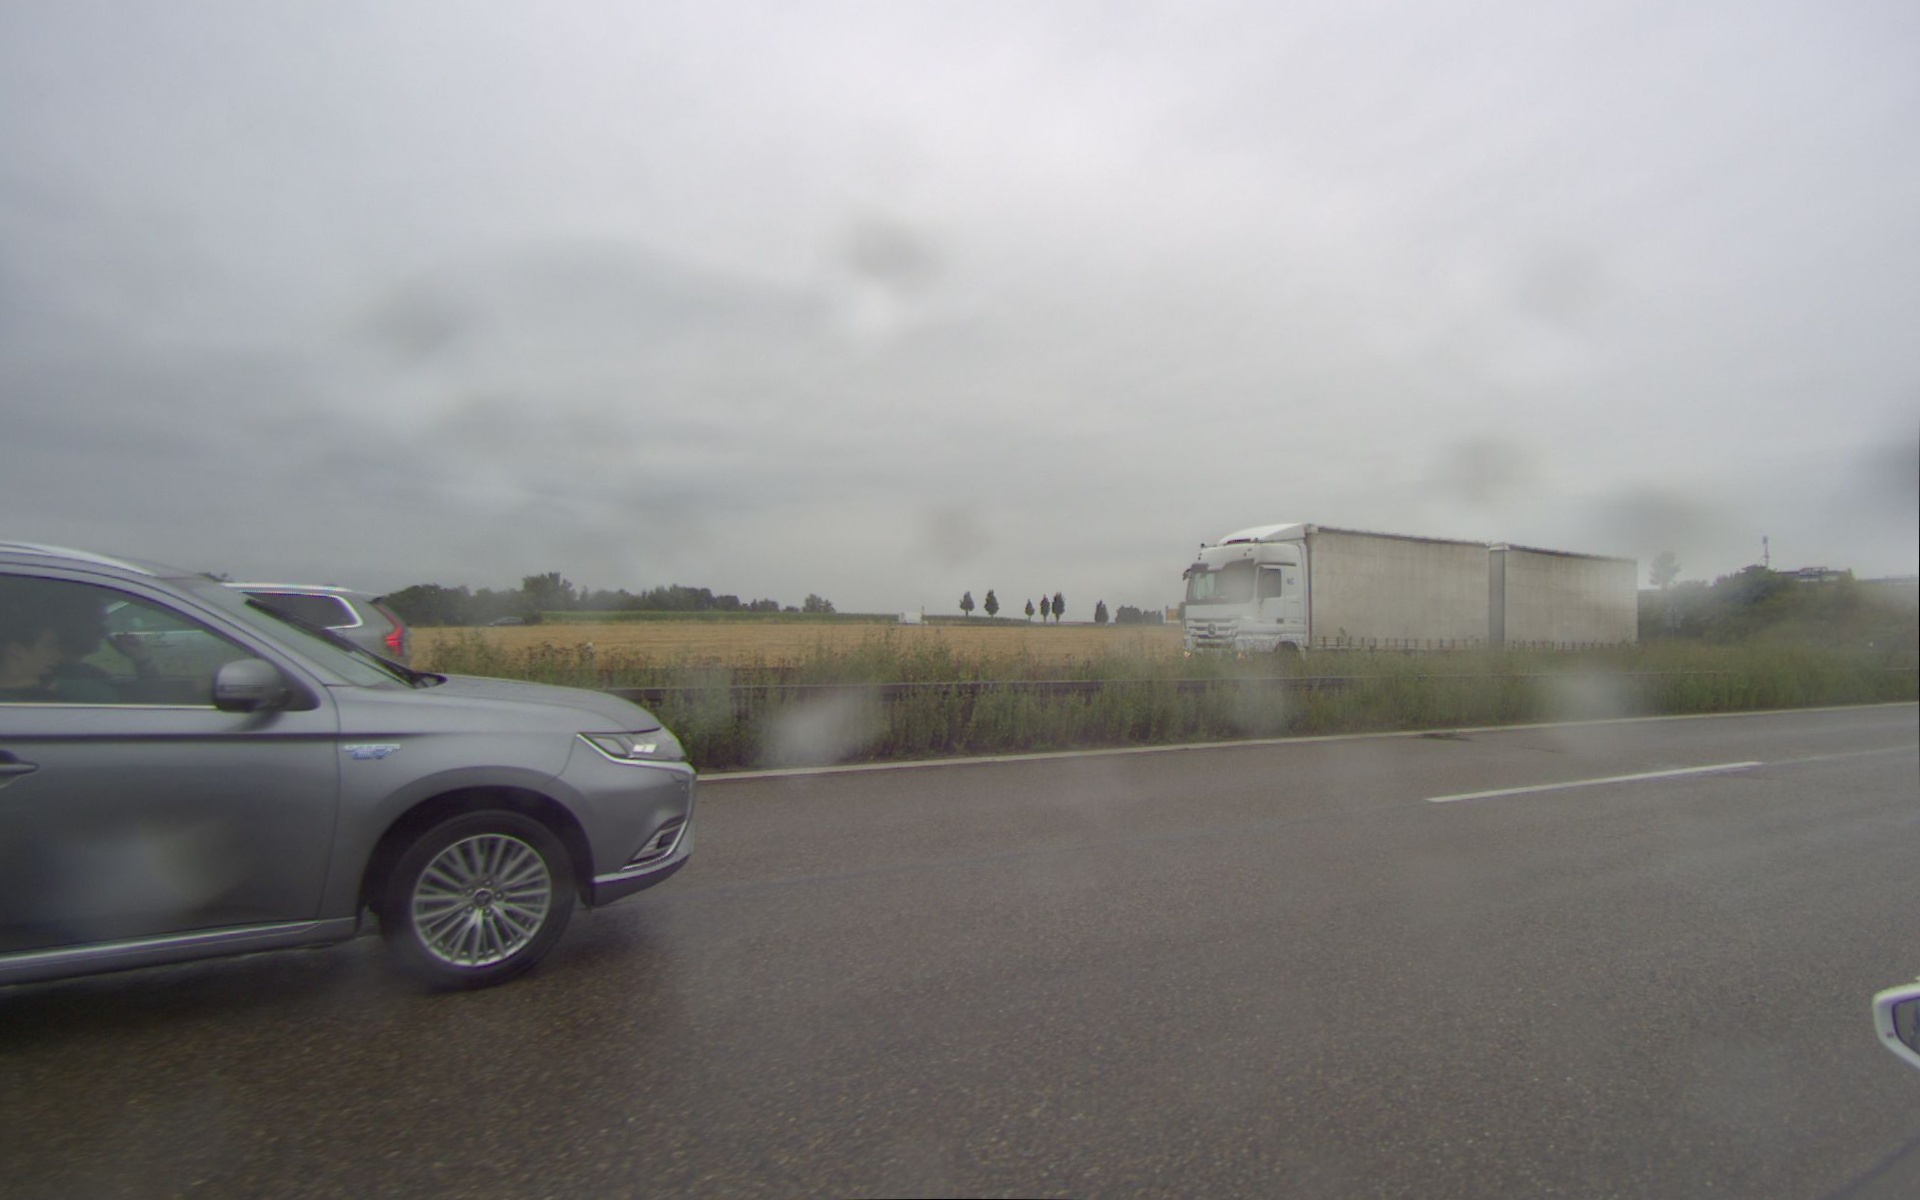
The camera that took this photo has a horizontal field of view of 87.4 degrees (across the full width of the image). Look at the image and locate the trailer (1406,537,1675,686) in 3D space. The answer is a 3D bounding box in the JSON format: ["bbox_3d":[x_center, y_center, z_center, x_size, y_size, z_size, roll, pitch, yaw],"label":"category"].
[{"bbox_3d":[19.776,0.531,33.933,10.391,4.443,3.213,2,-2,-31],"label":"trailer"}]

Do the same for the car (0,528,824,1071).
[{"bbox_3d":[-3.239,0.618,3.963,5.046,1.656,1.852,2,-1,-32],"label":"car"}]

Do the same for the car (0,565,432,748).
[{"bbox_3d":[-9.203,0.643,12.173,4.816,1.900,2.093,2,-2,-32],"label":"car"}]

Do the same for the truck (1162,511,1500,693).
[{"bbox_3d":[10.776,0.235,28.585,10.391,4.443,3.213,2,-2,-31],"label":"truck"}]
